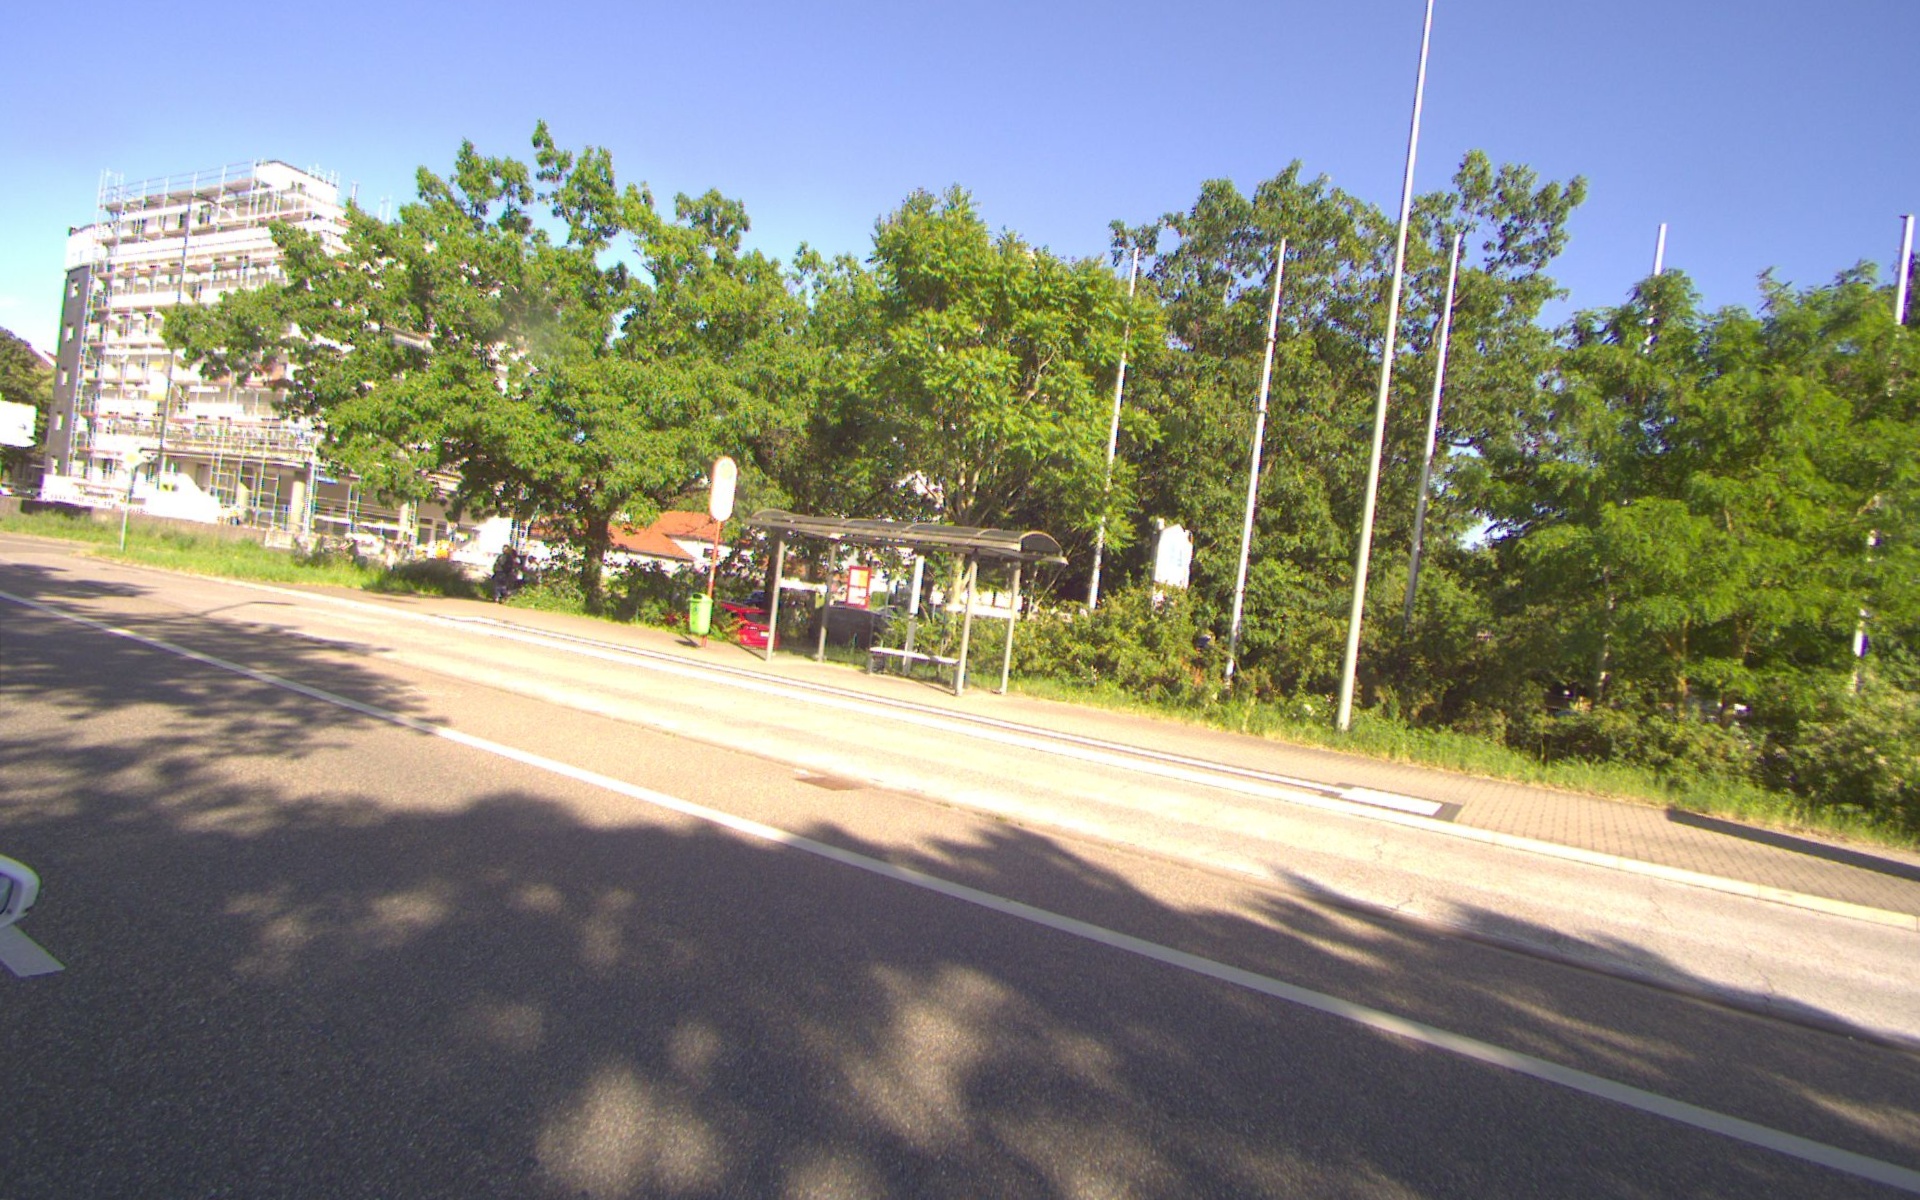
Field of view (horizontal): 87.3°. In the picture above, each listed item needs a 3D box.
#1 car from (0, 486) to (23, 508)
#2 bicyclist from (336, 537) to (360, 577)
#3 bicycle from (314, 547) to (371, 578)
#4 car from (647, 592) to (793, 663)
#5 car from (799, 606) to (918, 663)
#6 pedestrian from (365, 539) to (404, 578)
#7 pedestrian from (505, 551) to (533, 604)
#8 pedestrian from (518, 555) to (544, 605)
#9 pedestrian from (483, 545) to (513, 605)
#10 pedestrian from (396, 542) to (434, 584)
[{"bbox_3d":[-66.609,-7.213,70.162,1.521,1.330,3.250,7,0,-40],"label":"car"},{"bbox_3d":[-24.328,-1.704,39.973,0.582,1.511,0.543,7,1,-43],"label":"bicyclist"},{"bbox_3d":[-24.482,-1.489,39.882,1.784,0.956,0.553,8,0,-44],"label":"bicycle"},{"bbox_3d":[-6.871,0.793,28.748,3.680,1.504,1.755,7,0,28],"label":"car"},{"bbox_3d":[-3.589,1.217,35.982,3.674,1.504,1.914,7,0,13],"label":"car"},{"bbox_3d":[-24.506,-1.760,42.866,0.948,1.465,0.895,7,0,17],"label":"pedestrian"},{"bbox_3d":[-12.779,-0.664,29.167,0.517,1.465,0.587,7,1,-32],"label":"pedestrian"},{"bbox_3d":[-13.363,-0.629,31.325,0.517,1.465,0.587,7,1,-32],"label":"pedestrian"},{"bbox_3d":[-13.048,-0.706,28.406,0.517,1.632,0.587,7,1,-32],"label":"pedestrian"},{"bbox_3d":[-23.862,-1.615,44.061,0.969,1.674,0.891,7,0,19],"label":"pedestrian"}]
